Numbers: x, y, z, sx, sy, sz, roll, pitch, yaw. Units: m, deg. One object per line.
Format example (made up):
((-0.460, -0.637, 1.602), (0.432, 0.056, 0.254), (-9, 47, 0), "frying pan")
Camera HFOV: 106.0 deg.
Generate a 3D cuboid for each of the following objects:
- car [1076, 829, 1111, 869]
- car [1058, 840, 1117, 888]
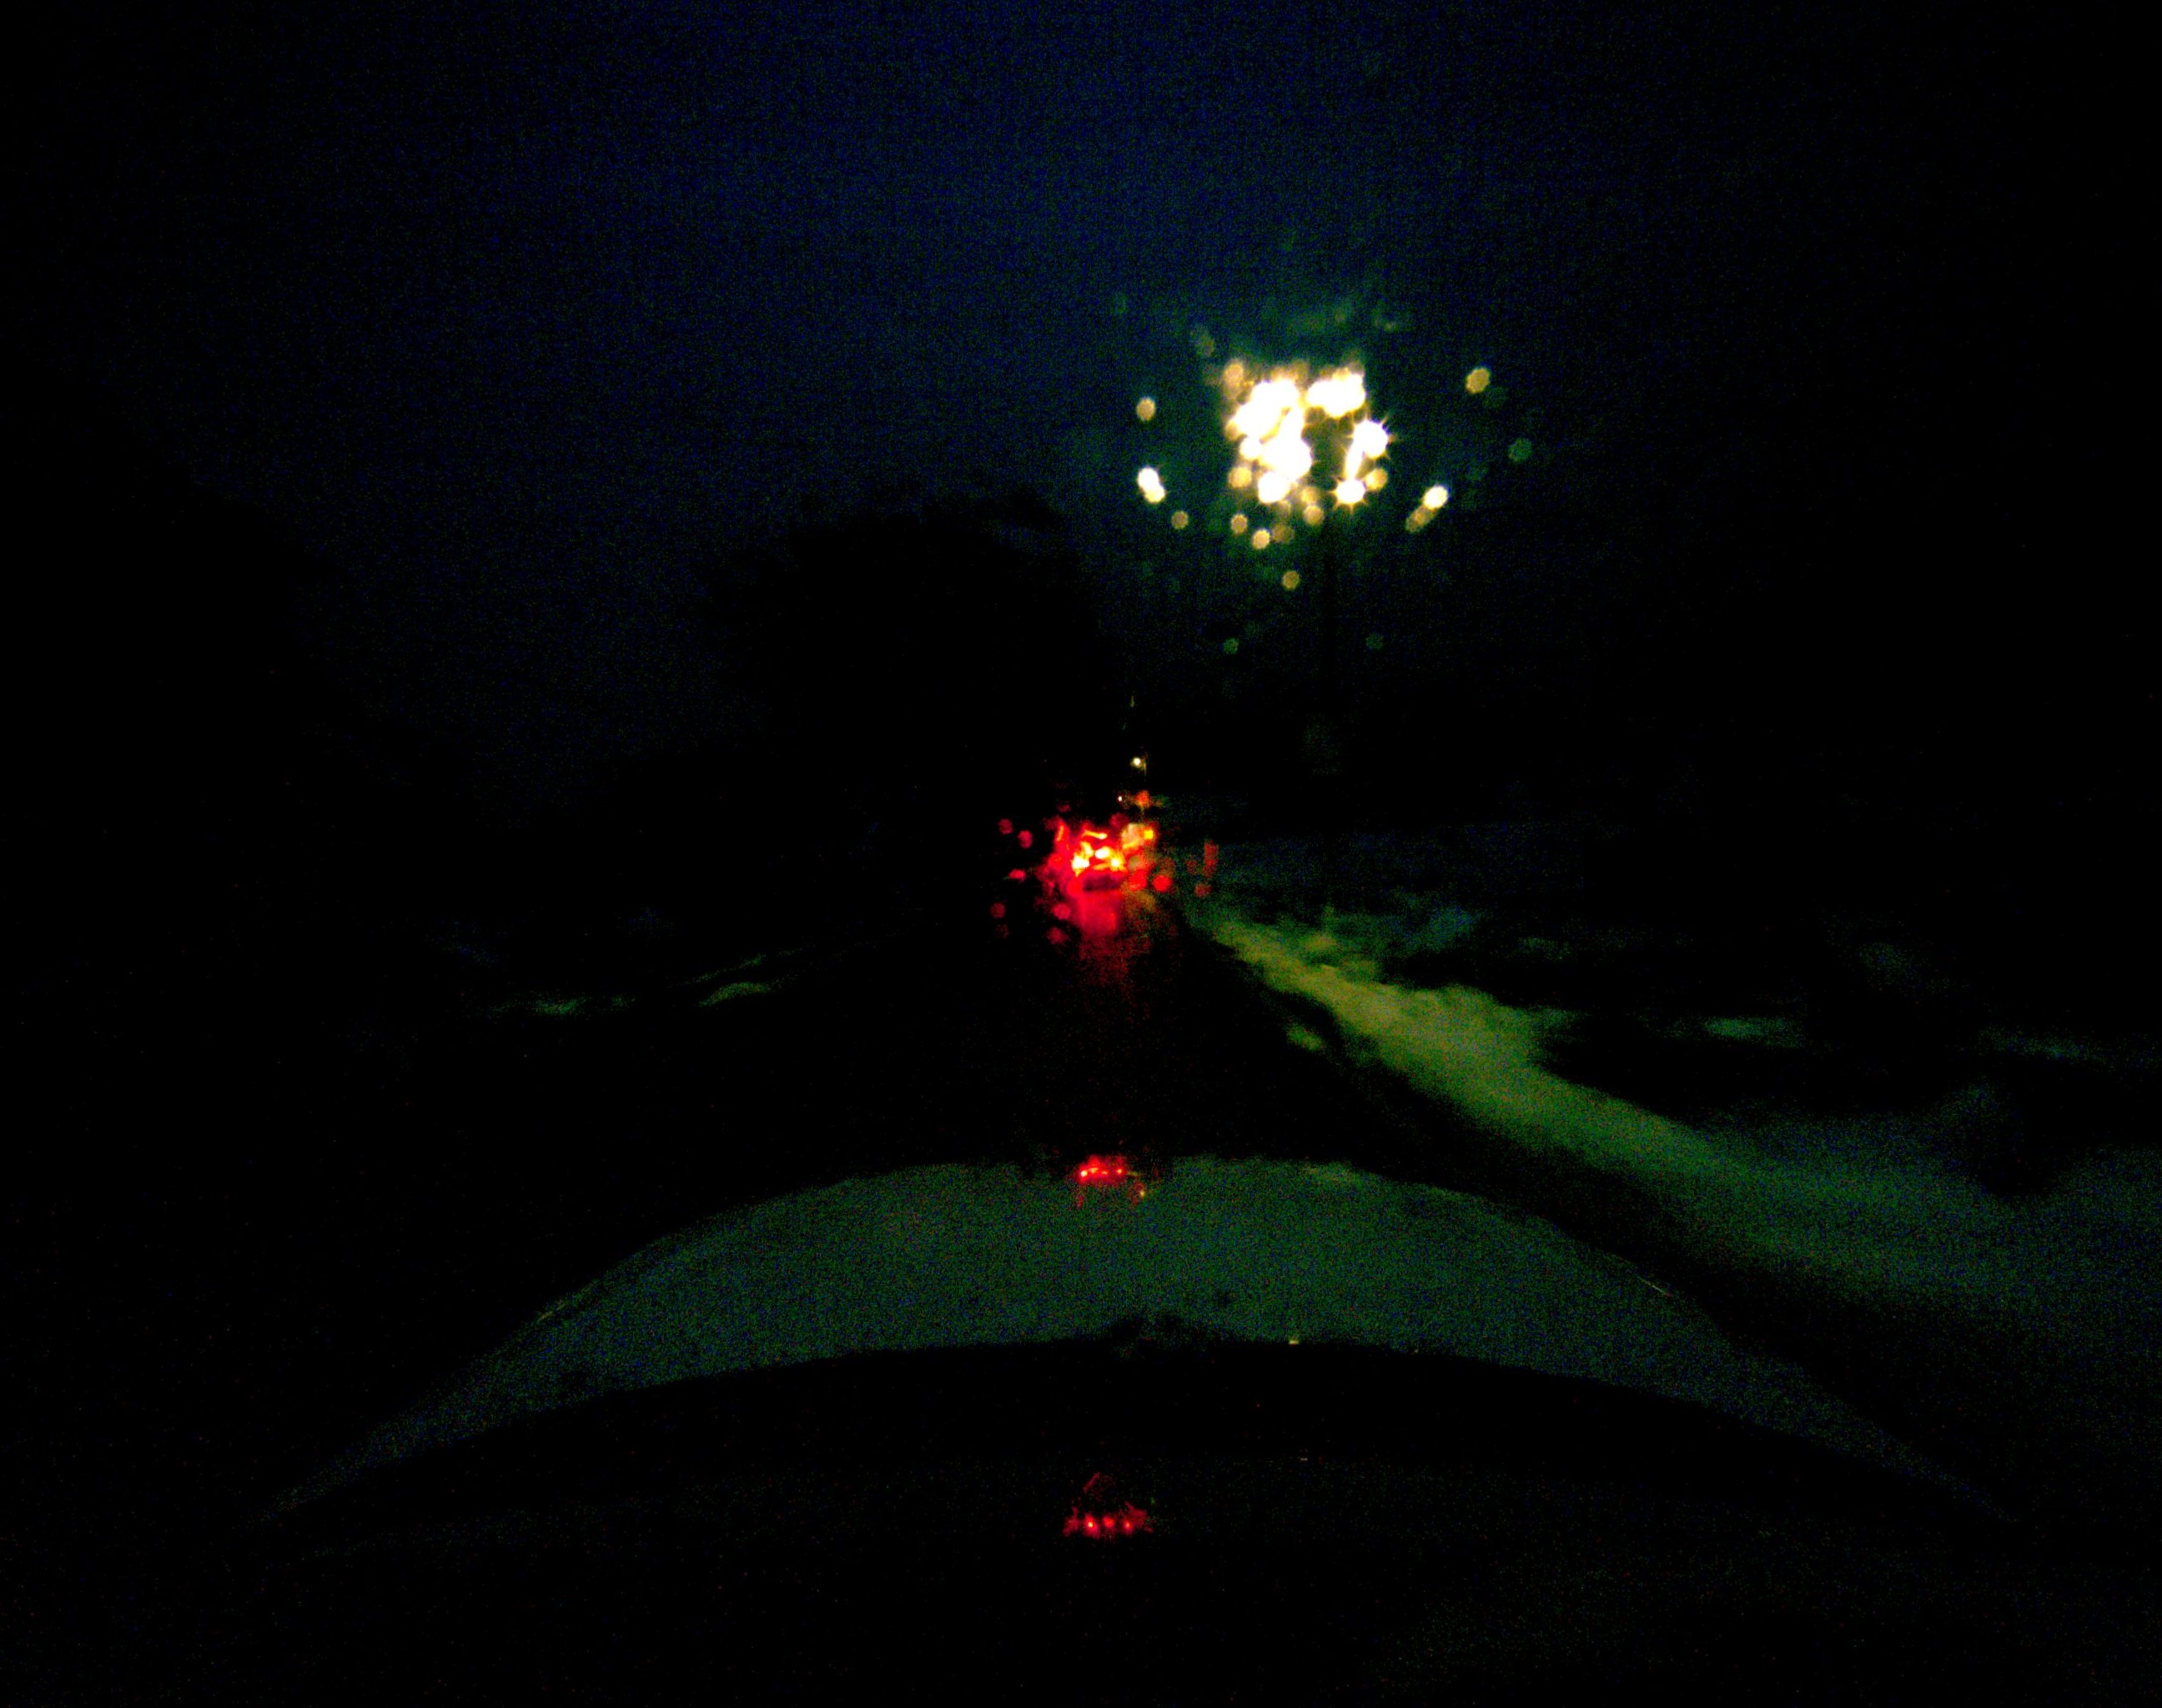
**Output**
((1.052, -0.342, 66.573), (2.424, 3.019, 5.331), (-3, -1, 4), "car")
((0.290, 0.419, 34.631), (2.266, 1.840, 5.007), (-1, 0, 1), "car")
